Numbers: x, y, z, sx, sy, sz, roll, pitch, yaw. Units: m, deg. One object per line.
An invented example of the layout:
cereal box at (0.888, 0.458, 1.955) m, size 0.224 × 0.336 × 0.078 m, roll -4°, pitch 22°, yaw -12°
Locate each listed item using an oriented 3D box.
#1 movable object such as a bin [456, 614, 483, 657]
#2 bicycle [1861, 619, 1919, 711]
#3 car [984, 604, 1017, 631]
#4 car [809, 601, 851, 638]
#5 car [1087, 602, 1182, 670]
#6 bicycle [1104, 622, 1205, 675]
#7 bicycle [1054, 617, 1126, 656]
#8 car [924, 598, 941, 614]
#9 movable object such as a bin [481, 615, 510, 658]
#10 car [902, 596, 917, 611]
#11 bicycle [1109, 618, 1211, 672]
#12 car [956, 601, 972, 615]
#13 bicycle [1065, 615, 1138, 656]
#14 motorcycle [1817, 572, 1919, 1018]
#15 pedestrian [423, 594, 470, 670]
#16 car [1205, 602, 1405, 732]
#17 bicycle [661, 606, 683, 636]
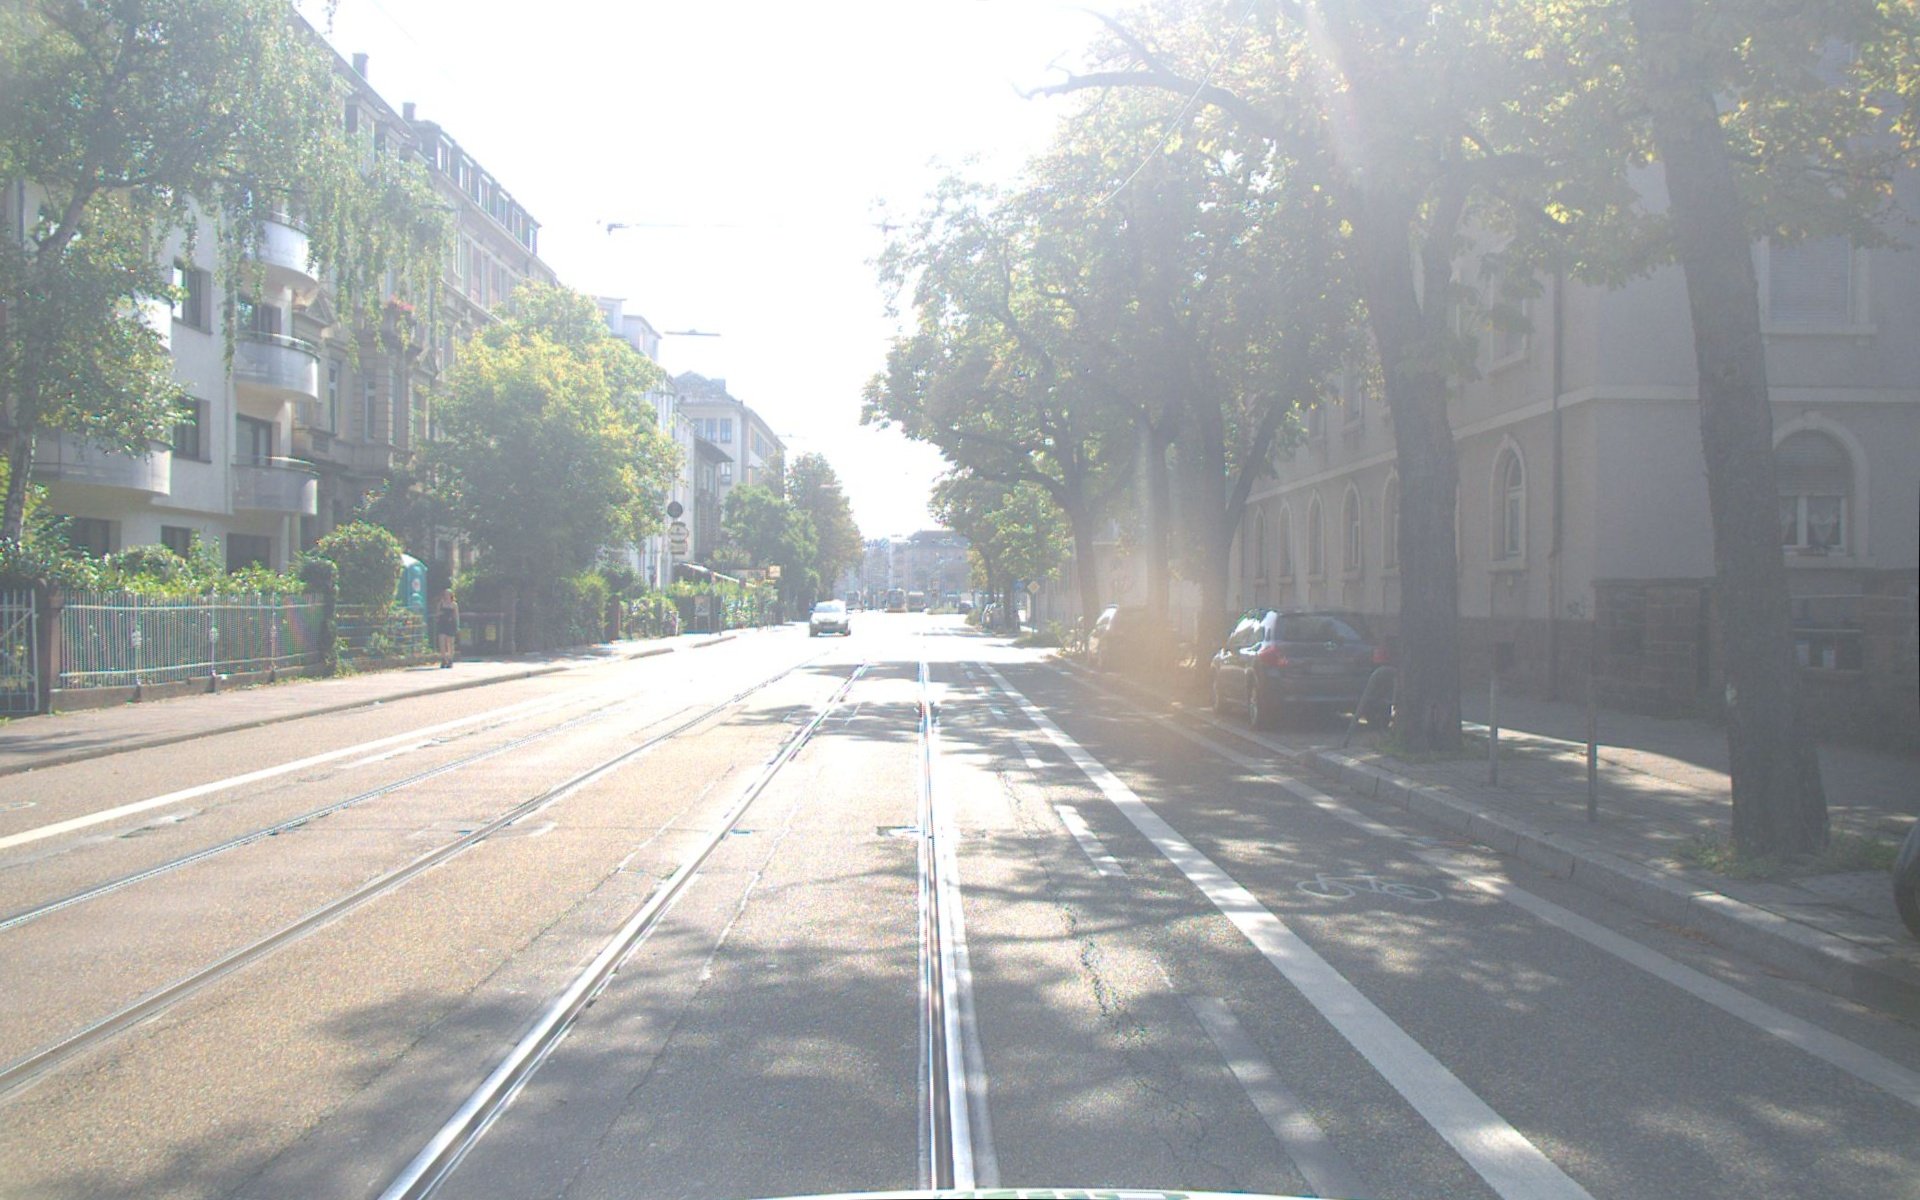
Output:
movable object such as a bin at (-12.681, 0.919, 42.775) m, size 0.578 × 1.097 × 0.703 m, roll 0°, pitch 0°, yaw -8°
bicycle at (12.124, 0.811, 20.805) m, size 0.527 × 1.123 × 1.873 m, roll 0°, pitch 0°, yaw -1°
car at (2.329, 1.020, 96.239) m, size 1.736 × 1.499 × 3.973 m, roll 0°, pitch -1°, yaw -1°
car at (-5.937, 0.879, 75.964) m, size 1.692 × 1.666 × 3.983 m, roll 0°, pitch 0°, yaw -2°
car at (4.042, 0.841, 38.935) m, size 1.736 × 1.499 × 3.973 m, roll 0°, pitch -1°, yaw -1°
bicycle at (4.137, 1.029, 35.279) m, size 2.067 × 1.125 × 0.562 m, roll 0°, pitch 0°, yaw -9°
bicycle at (3.885, 1.086, 49.408) m, size 2.064 × 1.125 × 0.615 m, roll -1°, pitch 0°, yaw -3°
car at (-3.564, 0.757, 214.916) m, size 1.952 × 2.049 × 4.001 m, roll 2°, pitch 0°, yaw 2°
movable object such as a bin at (-12.027, 0.940, 42.867) m, size 0.619 × 1.097 × 0.703 m, roll 0°, pitch 0°, yaw -8°
car at (-7.100, 0.536, 233.091) m, size 1.952 × 2.049 × 4.001 m, roll 2°, pitch 0°, yaw 1°
bicycle at (4.206, 0.940, 34.757) m, size 2.067 × 1.125 × 0.562 m, roll 0°, pitch 0°, yaw -9°
car at (0.561, 1.043, 222.225) m, size 1.952 × 1.814 × 4.001 m, roll 2°, pitch 0°, yaw 3°
bicycle at (4.140, 1.037, 48.524) m, size 2.064 × 1.125 × 0.615 m, roll -1°, pitch 0°, yaw -3°
motorcycle at (4.595, 0.725, 6.091) m, size 2.378 × 1.703 × 0.908 m, roll -1°, pitch 0°, yaw 43°
pedestrian at (-11.030, 0.679, 35.524) m, size 0.737 × 1.619 × 0.878 m, roll 0°, pitch 0°, yaw -1°
car at (4.452, 0.818, 21.919) m, size 1.692 × 1.531 × 3.983 m, roll -1°, pitch 0°, yaw -2°
bicycle at (-12.113, 0.891, 69.533) m, size 0.549 × 1.242 × 2.114 m, roll 0°, pitch 0°, yaw 0°
